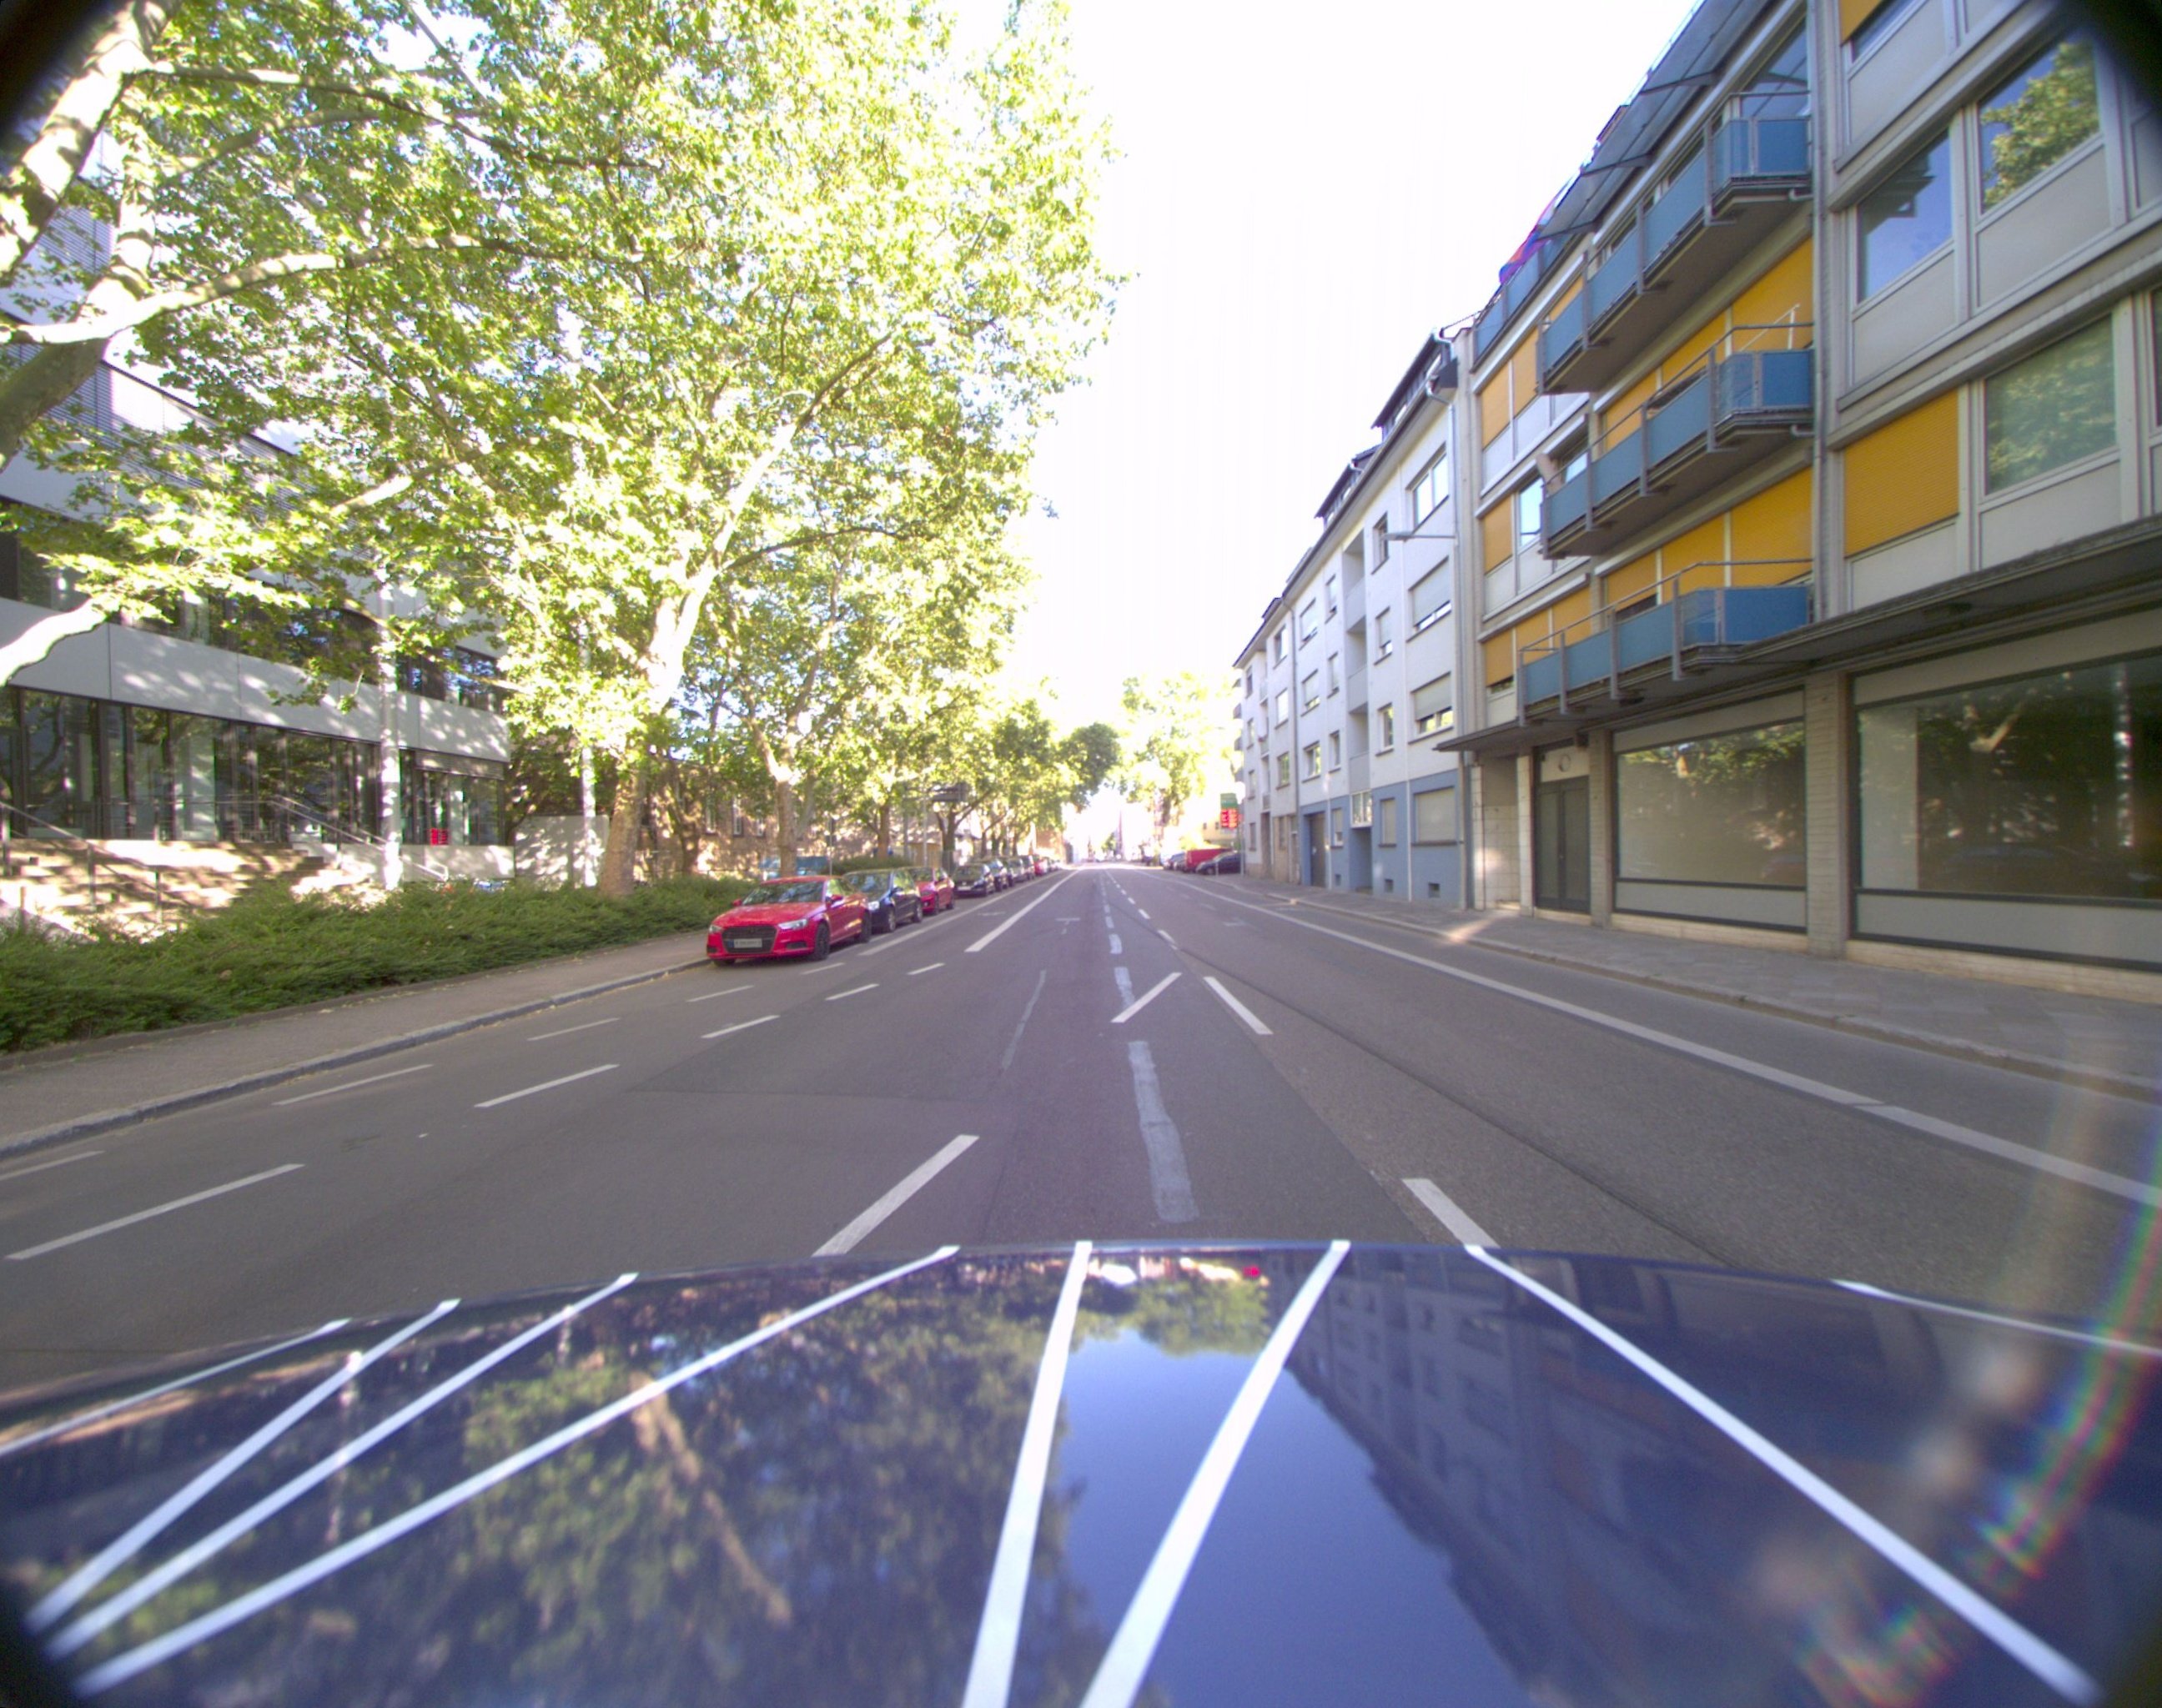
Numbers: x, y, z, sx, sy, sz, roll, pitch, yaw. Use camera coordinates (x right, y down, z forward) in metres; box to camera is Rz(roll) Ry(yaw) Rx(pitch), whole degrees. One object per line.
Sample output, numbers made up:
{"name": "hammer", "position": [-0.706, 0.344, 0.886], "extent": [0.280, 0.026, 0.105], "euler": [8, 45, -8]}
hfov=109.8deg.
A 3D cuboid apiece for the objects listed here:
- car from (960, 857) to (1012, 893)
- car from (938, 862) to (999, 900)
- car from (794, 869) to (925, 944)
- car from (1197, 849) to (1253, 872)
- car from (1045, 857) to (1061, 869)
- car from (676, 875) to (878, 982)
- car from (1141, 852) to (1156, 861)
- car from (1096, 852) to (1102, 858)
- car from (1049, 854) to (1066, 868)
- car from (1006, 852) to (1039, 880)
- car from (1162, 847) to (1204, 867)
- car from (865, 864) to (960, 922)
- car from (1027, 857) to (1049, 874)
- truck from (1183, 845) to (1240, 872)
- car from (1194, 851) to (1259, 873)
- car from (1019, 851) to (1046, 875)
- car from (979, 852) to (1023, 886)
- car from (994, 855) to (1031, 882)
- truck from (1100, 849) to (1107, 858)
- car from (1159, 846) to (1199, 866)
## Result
{"name": "car", "position": [-4.688, 1.008, 38.110], "extent": [1.998, 1.592, 4.142], "euler": [-2, 1, 1]}
{"name": "car", "position": [-4.841, 1.132, 33.164], "extent": [1.998, 1.447, 3.589], "euler": [-2, 1, 1]}
{"name": "car", "position": [-5.175, 1.170, 18.305], "extent": [1.998, 1.452, 3.644], "euler": [-2, 1, 1]}
{"name": "car", "position": [10.797, 0.450, 57.100], "extent": [3.810, 1.563, 1.658], "euler": [-2, 1, 0]}
{"name": "car", "position": [-3.352, 1.076, 92.723], "extent": [1.693, 1.364, 3.999], "euler": [-2, 1, 1]}
{"name": "car", "position": [-5.190, 1.198, 13.623], "extent": [1.907, 1.417, 3.999], "euler": [-2, 1, 1]}
{"name": "car", "position": [13.935, 0.582, 156.386], "extent": [1.844, 1.668, 4.005], "euler": [-3, 1, 22]}
{"name": "car", "position": [6.155, 0.203, 259.440], "extent": [1.998, 2.002, 3.999], "euler": [-2, 1, 1]}
{"name": "car", "position": [-3.190, 0.913, 102.994], "extent": [1.998, 1.682, 3.999], "euler": [-2, 1, 1]}
{"name": "car", "position": [-4.245, 0.848, 55.578], "extent": [1.998, 1.838, 3.999], "euler": [-2, 1, 1]}
{"name": "car", "position": [10.858, 0.284, 80.899], "extent": [4.236, 1.945, 2.000], "euler": [-2, 1, 3]}
{"name": "car", "position": [-5.131, 1.151, 23.659], "extent": [1.998, 1.490, 3.828], "euler": [-2, 1, 1]}
{"name": "car", "position": [-4.041, 1.086, 71.982], "extent": [1.824, 1.466, 3.999], "euler": [-2, 1, 1]}
{"name": "truck", "position": [10.283, 0.320, 60.198], "extent": [4.092, 1.913, 2.000], "euler": [-2, 1, 0]}
{"name": "car", "position": [10.452, 0.571, 54.769], "extent": [4.324, 1.398, 1.658], "euler": [-2, 1, 0]}
{"name": "car", "position": [-4.227, 0.770, 66.372], "extent": [1.998, 1.960, 3.999], "euler": [-2, 1, 1]}
{"name": "car", "position": [-4.611, 0.841, 44.502], "extent": [1.998, 1.777, 4.572], "euler": [-2, 1, 1]}
{"name": "car", "position": [-4.540, 0.931, 50.903], "extent": [1.998, 1.557, 4.142], "euler": [-2, 1, 1]}
{"name": "truck", "position": [6.868, -0.286, 233.809], "extent": [1.998, 2.653, 5.314], "euler": [-2, 1, 0]}
{"name": "car", "position": [10.944, 0.218, 85.299], "extent": [4.236, 2.025, 2.000], "euler": [-2, 1, 3]}
